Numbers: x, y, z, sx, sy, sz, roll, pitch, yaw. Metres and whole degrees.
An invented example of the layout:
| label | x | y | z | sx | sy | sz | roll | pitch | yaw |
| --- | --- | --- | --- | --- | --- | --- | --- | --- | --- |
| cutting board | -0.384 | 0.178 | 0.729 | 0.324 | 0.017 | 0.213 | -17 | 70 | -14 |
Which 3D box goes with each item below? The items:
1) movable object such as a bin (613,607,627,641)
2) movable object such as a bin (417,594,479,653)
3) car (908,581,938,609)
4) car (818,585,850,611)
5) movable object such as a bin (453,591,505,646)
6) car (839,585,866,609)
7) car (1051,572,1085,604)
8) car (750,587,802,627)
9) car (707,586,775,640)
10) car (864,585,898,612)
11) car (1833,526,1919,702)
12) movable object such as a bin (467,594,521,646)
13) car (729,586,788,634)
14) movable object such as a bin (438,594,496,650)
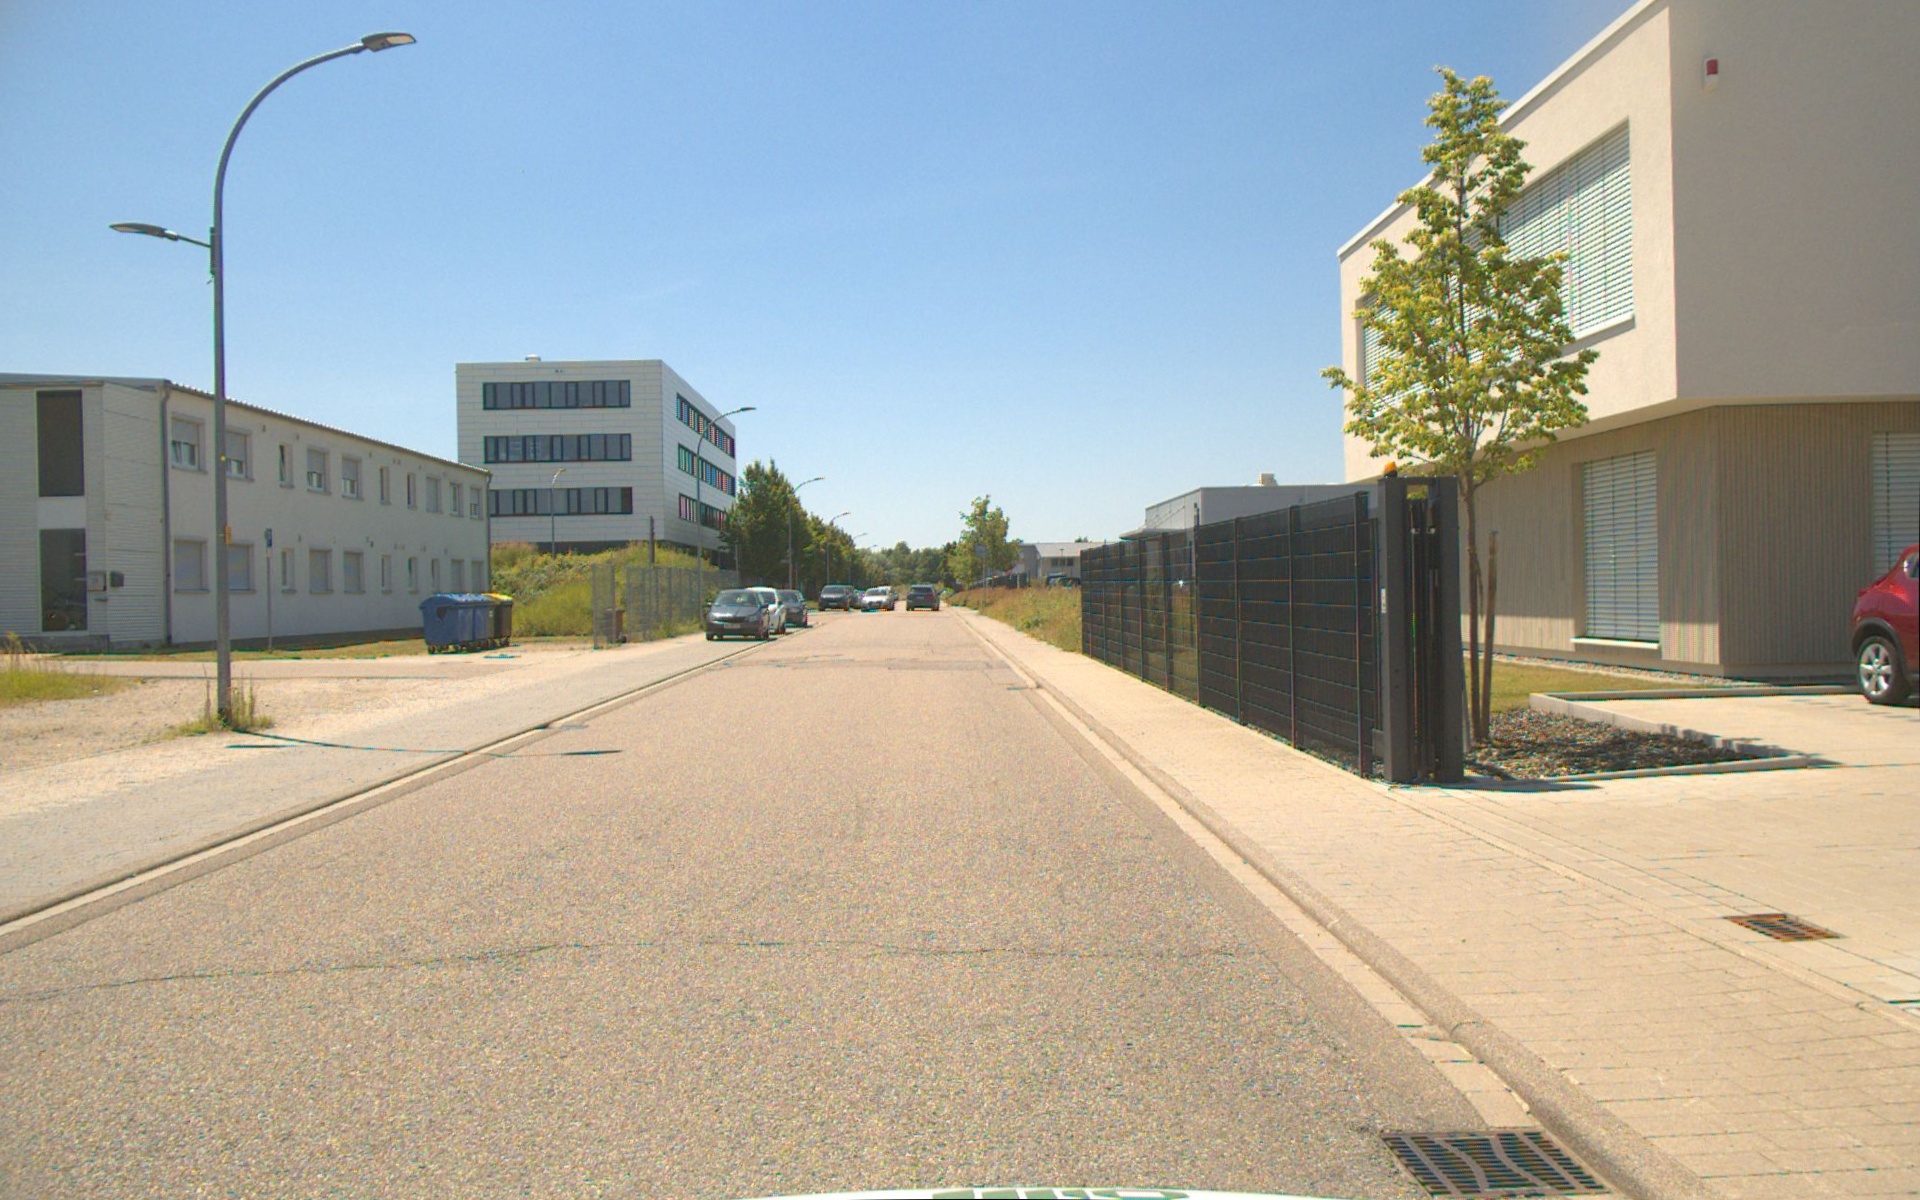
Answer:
| label | x | y | z | sx | sy | sz | roll | pitch | yaw |
| --- | --- | --- | --- | --- | --- | --- | --- | --- | --- |
| movable object such as a bin | -9.537 | 0.674 | 46.397 | 0.298 | 0.956 | 0.497 | -1 | 0 | 1 |
| movable object such as a bin | -13.195 | 0.600 | 42.696 | 1.120 | 1.473 | 1.434 | -1 | 0 | 1 |
| car | -2.266 | -0.304 | 100.988 | 1.753 | 1.652 | 3.808 | 1 | 0 | -2 |
| car | -7.952 | -0.126 | 104.807 | 1.735 | 1.615 | 4.480 | -1 | 0 | -2 |
| movable object such as a bin | -13.282 | 0.512 | 45.704 | 1.066 | 1.473 | 1.388 | -1 | 0 | -3 |
| car | -7.608 | -0.183 | 117.626 | 1.735 | 1.652 | 4.581 | -1 | 0 | -2 |
| car | 5.602 | -0.630 | 85.985 | 1.437 | 1.601 | 2.661 | -2 | 0 | -1 |
| car | -7.166 | 0.274 | 64.778 | 1.640 | 1.476 | 4.067 | -1 | 0 | -2 |
| car | -6.577 | 0.390 | 50.039 | 1.640 | 1.557 | 3.908 | 0 | 0 | -2 |
| car | -4.919 | -0.084 | 102.965 | 1.734 | 1.615 | 4.077 | -1 | 0 | 2 |
| car | 9.534 | 0.129 | 14.273 | 1.636 | 1.585 | 4.075 | -1 | 2 | -4 |
| movable object such as a bin | -13.268 | 0.559 | 47.149 | 1.119 | 1.430 | 1.388 | -1 | 0 | 1 |
| car | -6.851 | 0.332 | 56.582 | 1.640 | 1.557 | 3.756 | -1 | 0 | -2 |
| movable object such as a bin | -13.196 | 0.582 | 44.272 | 1.101 | 1.473 | 1.371 | -1 | 0 | 1 |
